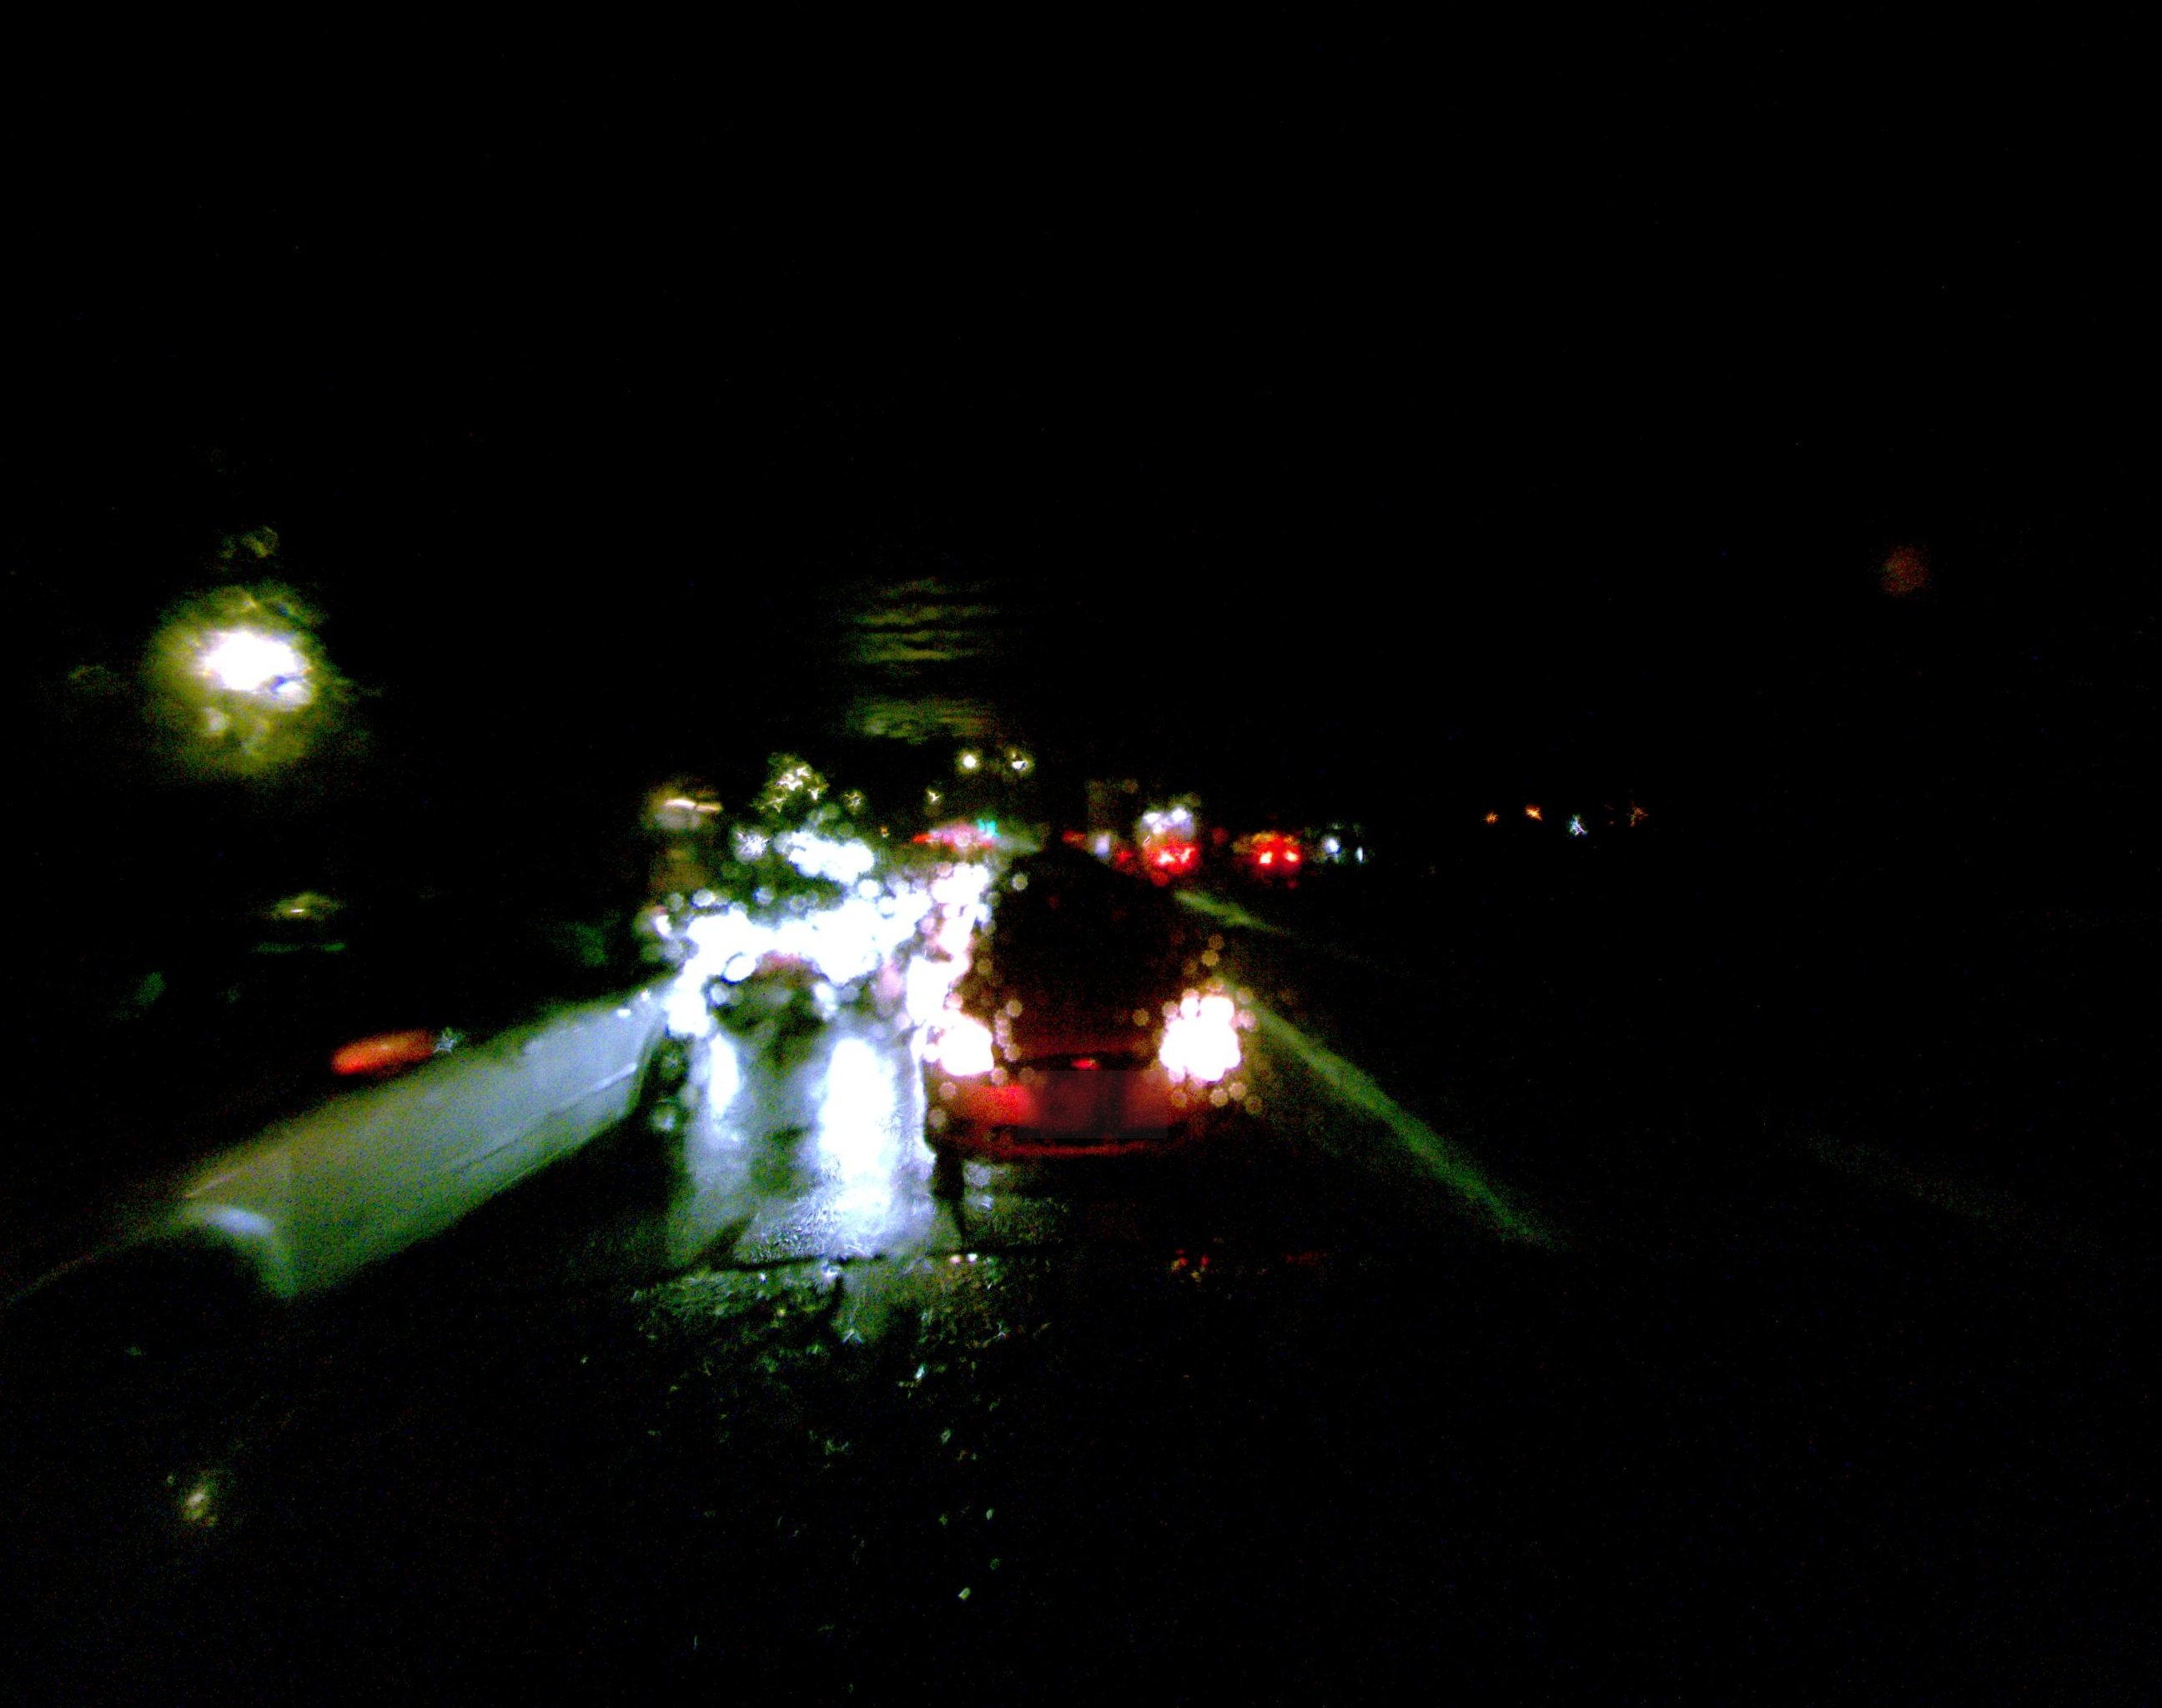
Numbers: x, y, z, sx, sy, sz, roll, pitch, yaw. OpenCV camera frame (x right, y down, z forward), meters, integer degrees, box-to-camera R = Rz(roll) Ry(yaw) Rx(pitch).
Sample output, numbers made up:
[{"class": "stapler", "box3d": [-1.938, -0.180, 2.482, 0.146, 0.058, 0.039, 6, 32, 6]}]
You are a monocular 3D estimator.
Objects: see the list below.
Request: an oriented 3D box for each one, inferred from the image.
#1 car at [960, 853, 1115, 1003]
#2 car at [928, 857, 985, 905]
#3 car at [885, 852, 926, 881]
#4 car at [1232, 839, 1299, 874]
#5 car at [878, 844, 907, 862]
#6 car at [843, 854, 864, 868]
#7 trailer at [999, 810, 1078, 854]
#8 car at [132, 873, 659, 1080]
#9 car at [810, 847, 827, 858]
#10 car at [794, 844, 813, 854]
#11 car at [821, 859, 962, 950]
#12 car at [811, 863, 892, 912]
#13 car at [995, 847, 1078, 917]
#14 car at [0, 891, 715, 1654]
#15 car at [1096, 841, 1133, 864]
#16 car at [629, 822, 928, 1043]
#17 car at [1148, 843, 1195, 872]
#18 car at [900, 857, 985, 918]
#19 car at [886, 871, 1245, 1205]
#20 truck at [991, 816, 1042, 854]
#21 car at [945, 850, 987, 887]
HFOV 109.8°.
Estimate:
[{"class": "car", "box3d": [-0.464, 0.841, 10.589, 1.683, 1.591, 3.996, -2, 1, 1]}, {"class": "car", "box3d": [-4.380, 0.893, 27.171, 1.683, 1.463, 3.998, -2, 1, -5]}, {"class": "car", "box3d": [-9.634, 0.653, 42.064, 1.854, 1.447, 4.498, -1, 0, -9]}, {"class": "car", "box3d": [10.083, 0.116, 41.854, 1.860, 1.739, 4.501, -2, 1, -11]}, {"class": "car", "box3d": [-16.269, -0.096, 65.375, 1.856, 1.423, 4.493, -3, 2, -21]}, {"class": "car", "box3d": [-24.949, 0.775, 83.299, 1.884, 1.463, 3.993, -3, 1, -21]}, {"class": "trailer", "box3d": [-4.871, -2.152, 81.303, 3.973, 4.152, 13.894, -3, 1, -22]}, {"class": "car", "box3d": [-6.948, 1.073, 8.610, 1.842, 1.469, 4.627, -2, 1, -3]}, {"class": "car", "box3d": [-38.444, -0.253, 111.137, 1.885, 1.463, 3.991, -3, 1, -26]}, {"class": "car", "box3d": [-46.794, -0.847, 128.240, 1.885, 1.463, 3.990, -3, 1, -36]}, {"class": "car", "box3d": [-3.738, 0.933, 15.711, 1.869, 1.503, 3.766, -2, 1, 1]}, {"class": "car", "box3d": [-7.730, 1.070, 26.036, 1.854, 1.476, 4.627, -1, 0, -7]}, {"class": "car", "box3d": [-1.109, 0.634, 19.674, 1.881, 1.534, 3.999, -2, 1, -2]}, {"class": "car", "box3d": [-3.183, 0.999, 2.650, 1.792, 1.359, 3.999, -2, 2, 0]}, {"class": "car", "box3d": [2.670, -0.108, 61.715, 1.971, 1.731, 4.914, -2, 1, -9]}, {"class": "car", "box3d": [-3.366, 0.739, 9.549, 1.999, 2.076, 4.347, -2, 1, -1]}, {"class": "car", "box3d": [5.723, 0.200, 48.654, 1.910, 1.731, 4.395, -2, 1, -7]}, {"class": "car", "box3d": [-3.918, 0.905, 22.144, 1.629, 1.494, 3.999, -2, 1, 1]}, {"class": "car", "box3d": [-0.044, 0.899, 5.479, 1.603, 1.360, 3.942, -2, 1, 1]}, {"class": "truck", "box3d": [-7.545, -2.123, 87.928, 3.974, 4.152, 6.364, -3, 1, -23]}, {"class": "car", "box3d": [-5.385, 0.647, 36.017, 1.743, 1.581, 3.997, -2, 1, -6]}]
